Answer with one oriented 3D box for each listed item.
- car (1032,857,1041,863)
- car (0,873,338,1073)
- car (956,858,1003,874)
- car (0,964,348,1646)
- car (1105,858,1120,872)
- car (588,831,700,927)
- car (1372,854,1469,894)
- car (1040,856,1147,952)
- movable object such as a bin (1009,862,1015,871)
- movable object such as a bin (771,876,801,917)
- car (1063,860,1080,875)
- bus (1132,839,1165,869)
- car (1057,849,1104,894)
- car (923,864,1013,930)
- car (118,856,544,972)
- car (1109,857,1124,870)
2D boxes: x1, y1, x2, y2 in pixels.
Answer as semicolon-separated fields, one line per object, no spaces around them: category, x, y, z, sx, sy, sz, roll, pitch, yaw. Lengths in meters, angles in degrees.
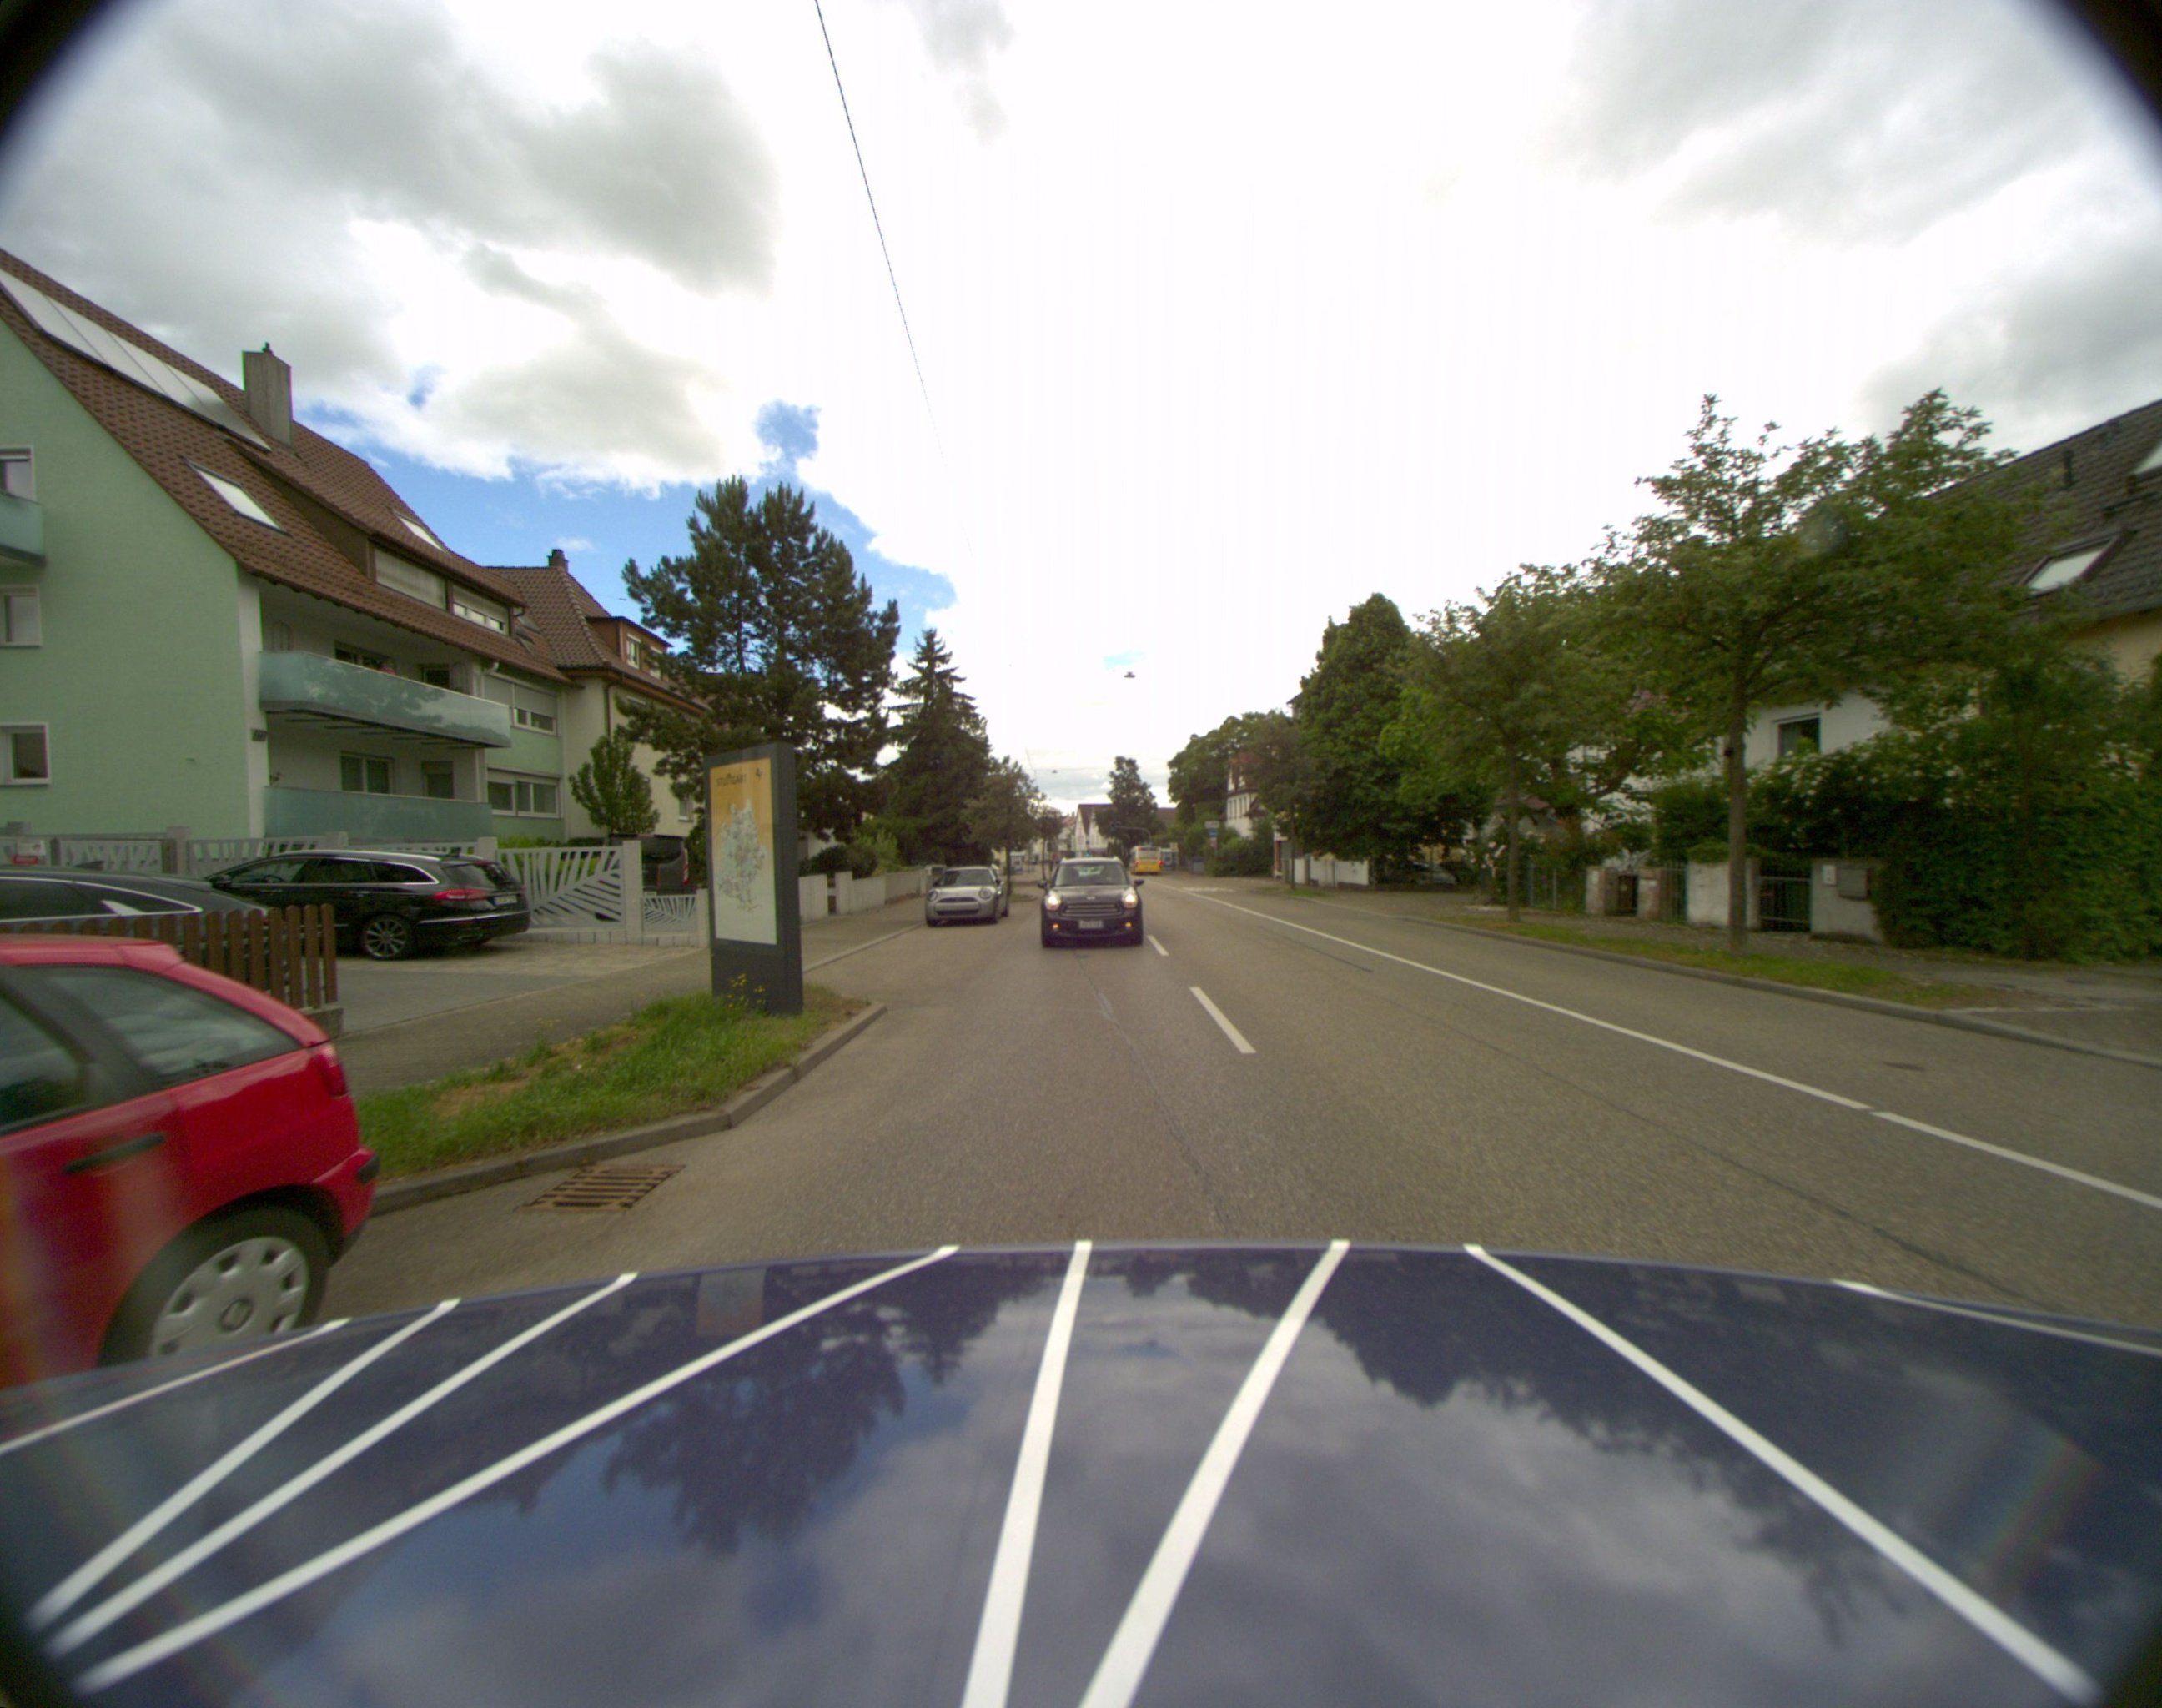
car;-11.597;1.602;198.506;1.635;1.403;3.995;0;0;-14
car;-8.857;0.916;5.574;1.820;1.373;4.487;0;1;23
car;-10.180;1.201;76.517;4.432;1.480;1.864;1;1;-1
car;-3.225;1.051;0.610;1.666;1.385;3.668;-1;0;1
car;4.104;1.455;99.252;1.763;1.625;4.594;1;1;-1
car;-10.525;0.504;18.624;1.982;2.002;4.712;3;1;-26
car;14.253;0.812;32.213;1.811;1.555;4.617;1;-1;-4
car;0.131;0.829;14.391;1.694;1.506;3.999;-2;0;-2
movable object such as a bin;-8.051;1.458;88.817;0.638;1.040;0.585;-3;1;-8
movable object such as a bin;-8.036;1.151;20.680;0.595;1.050;0.613;3;2;-33
car;-1.029;1.506;86.870;1.846;1.510;3.999;-2;1;0
bus;7.196;0.030;82.549;2.638;3.068;12.070;0;0;1
car;-0.030;0.692;32.418;1.811;1.556;4.616;-2;2;0
car;-2.807;1.038;19.710;1.654;1.374;3.999;-2;1;1
car;-10.657;0.827;11.121;4.274;1.497;1.694;1;1;-7
car;4.192;1.116;89.916;1.568;1.412;4.129;-1;1;-1
